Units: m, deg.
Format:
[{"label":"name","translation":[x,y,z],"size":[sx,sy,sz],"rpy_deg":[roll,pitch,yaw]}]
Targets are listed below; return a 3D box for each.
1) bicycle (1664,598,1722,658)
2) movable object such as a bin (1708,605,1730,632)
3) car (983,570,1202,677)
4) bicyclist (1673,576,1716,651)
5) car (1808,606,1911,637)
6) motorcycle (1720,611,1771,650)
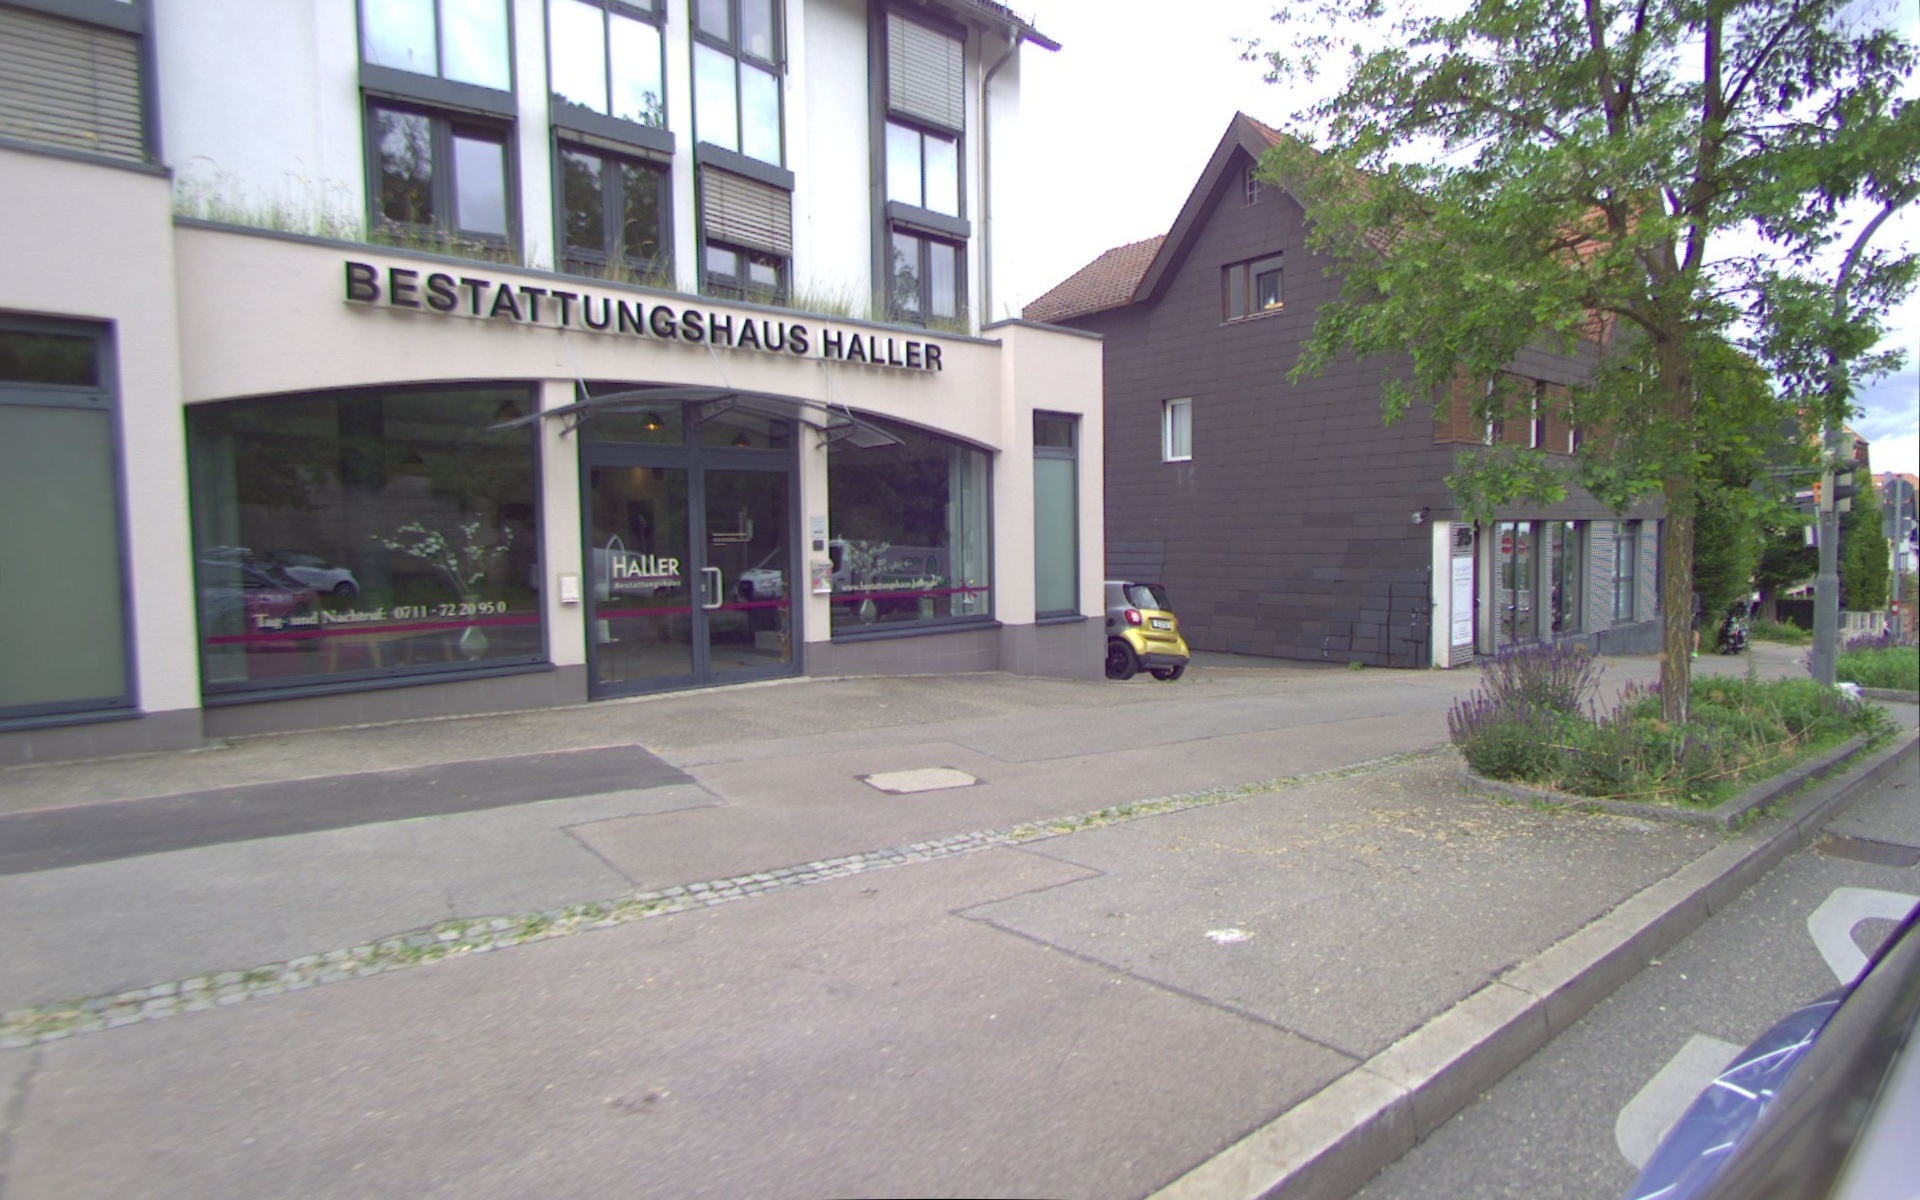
[{"label":"bicycle","translation":[16.643,0.626,22.962],"size":[2.002,1.278,0.572],"rpy_deg":[2,1,-41]},{"label":"movable object such as a bin","translation":[28.616,0.698,38.160],"size":[0.550,0.951,0.453],"rpy_deg":[1,5,-40]},{"label":"car","translation":[2.048,0.432,15.964],"size":[2.985,1.483,1.642],"rpy_deg":[-5,-5,40]},{"label":"bicyclist","translation":[16.645,0.300,22.930],"size":[0.930,1.654,0.539],"rpy_deg":[1,0,-40]},{"label":"car","translation":[47.277,1.132,53.293],"size":[3.768,1.423,1.528],"rpy_deg":[-4,-3,33]},{"label":"motorcycle","translation":[22.707,0.857,29.231],"size":[1.931,1.064,0.697],"rpy_deg":[1,2,-39]}]
